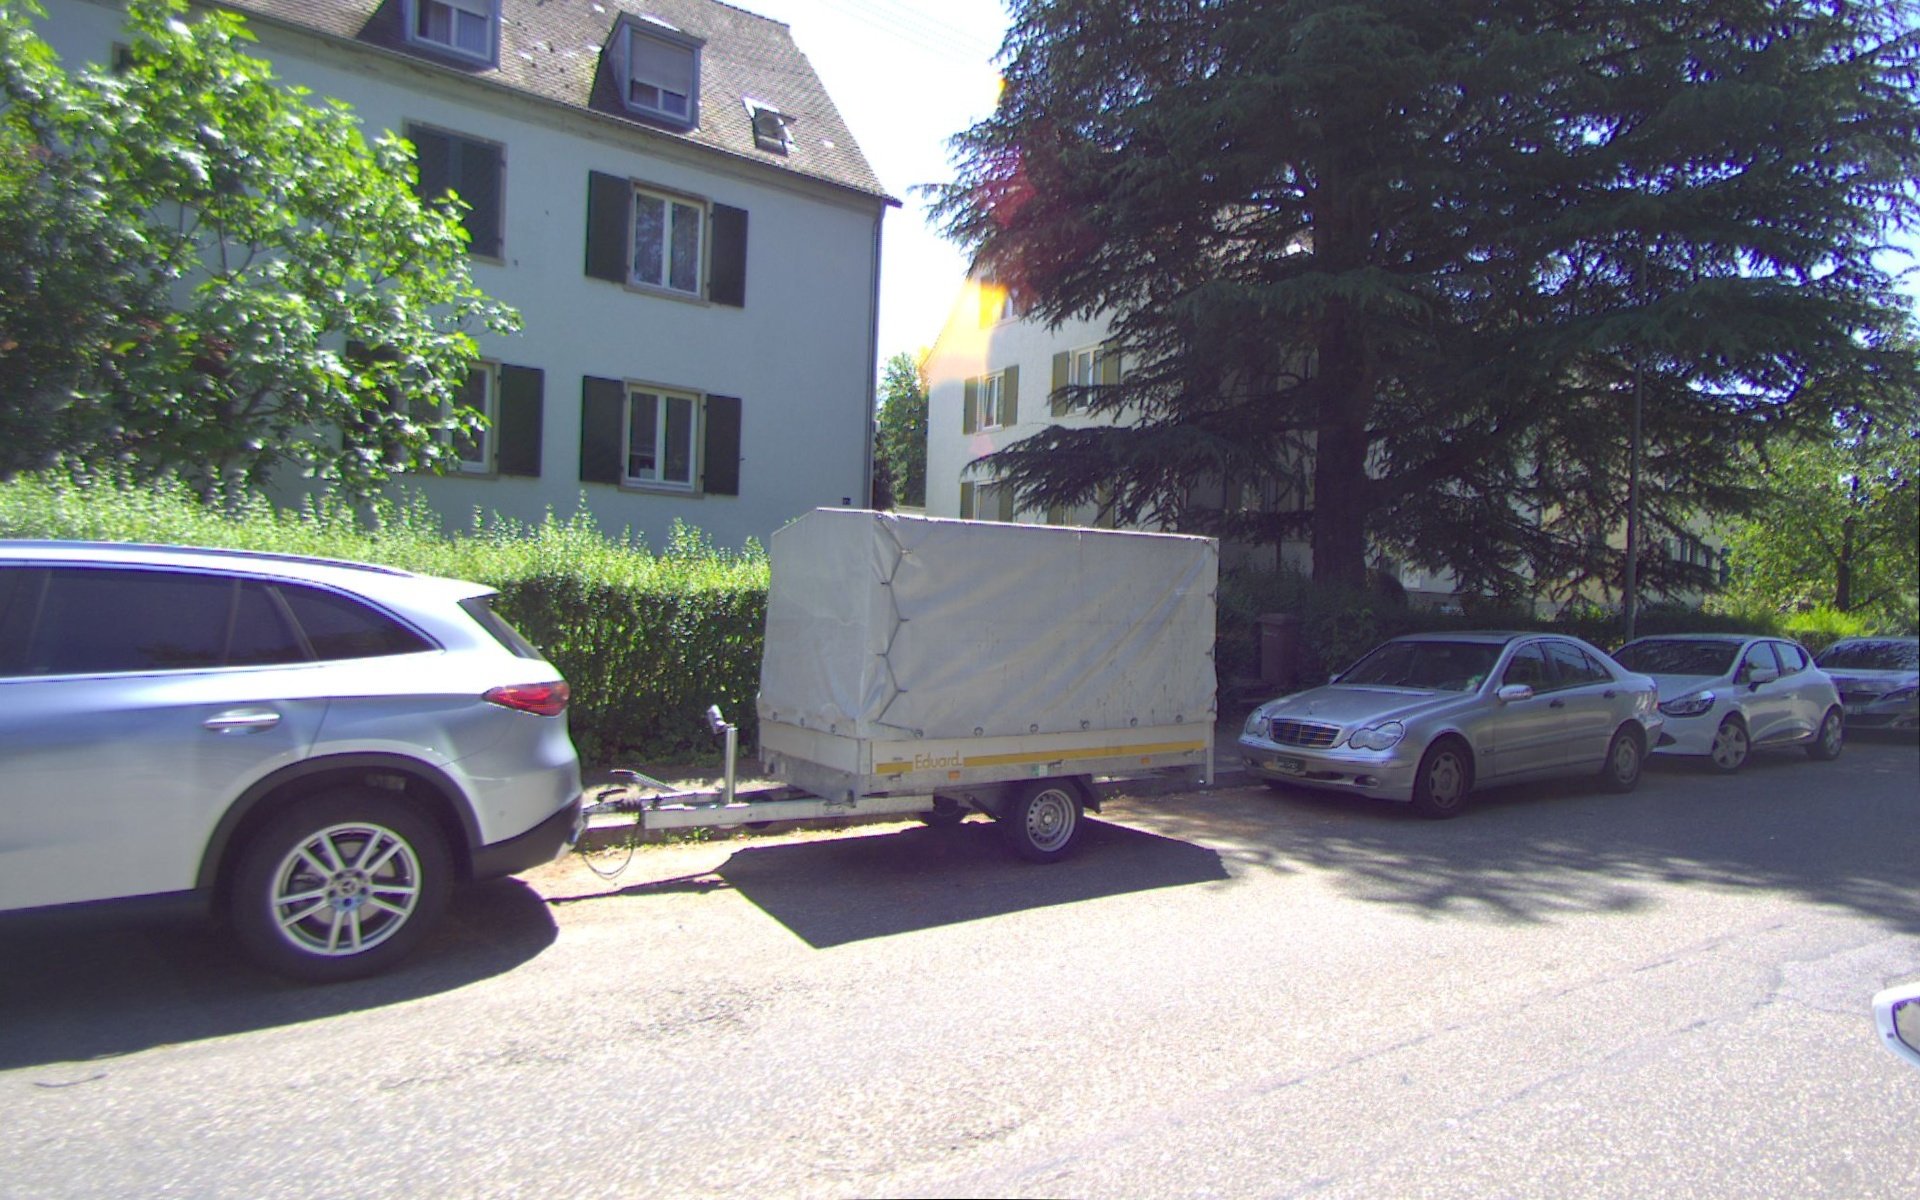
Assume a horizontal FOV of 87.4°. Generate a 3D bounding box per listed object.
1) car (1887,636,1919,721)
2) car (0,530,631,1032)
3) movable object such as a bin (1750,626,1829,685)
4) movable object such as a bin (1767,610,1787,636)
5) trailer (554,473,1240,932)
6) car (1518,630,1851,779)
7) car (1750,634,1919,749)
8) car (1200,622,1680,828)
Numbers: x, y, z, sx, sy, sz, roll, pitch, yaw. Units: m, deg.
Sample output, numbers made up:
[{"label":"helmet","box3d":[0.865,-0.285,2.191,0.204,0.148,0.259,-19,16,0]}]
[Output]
[{"label":"car","box3d":[18.289,1.390,17.815,3.743,1.461,1.787,2,-2,-32]},{"label":"car","box3d":[-3.798,0.607,3.915,4.498,1.640,1.759,2,-2,-32]},{"label":"movable object such as a bin","box3d":[17.794,1.170,21.540,1.279,1.215,0.968,0,-1,42]},{"label":"movable object such as a bin","box3d":[39.646,1.121,48.751,0.668,1.212,0.616,2,0,-39]},{"label":"trailer","box3d":[-0.297,0.532,6.346,3.956,2.060,1.805,2,-2,-32]},{"label":"car","box3d":[8.468,1.106,11.690,3.852,1.461,1.788,2,-2,-31]},{"label":"car","box3d":[13.632,1.261,14.826,4.225,1.461,1.787,2,-2,-32]},{"label":"car","box3d":[4.417,0.960,9.053,4.425,1.461,1.788,2,-2,-31]}]
